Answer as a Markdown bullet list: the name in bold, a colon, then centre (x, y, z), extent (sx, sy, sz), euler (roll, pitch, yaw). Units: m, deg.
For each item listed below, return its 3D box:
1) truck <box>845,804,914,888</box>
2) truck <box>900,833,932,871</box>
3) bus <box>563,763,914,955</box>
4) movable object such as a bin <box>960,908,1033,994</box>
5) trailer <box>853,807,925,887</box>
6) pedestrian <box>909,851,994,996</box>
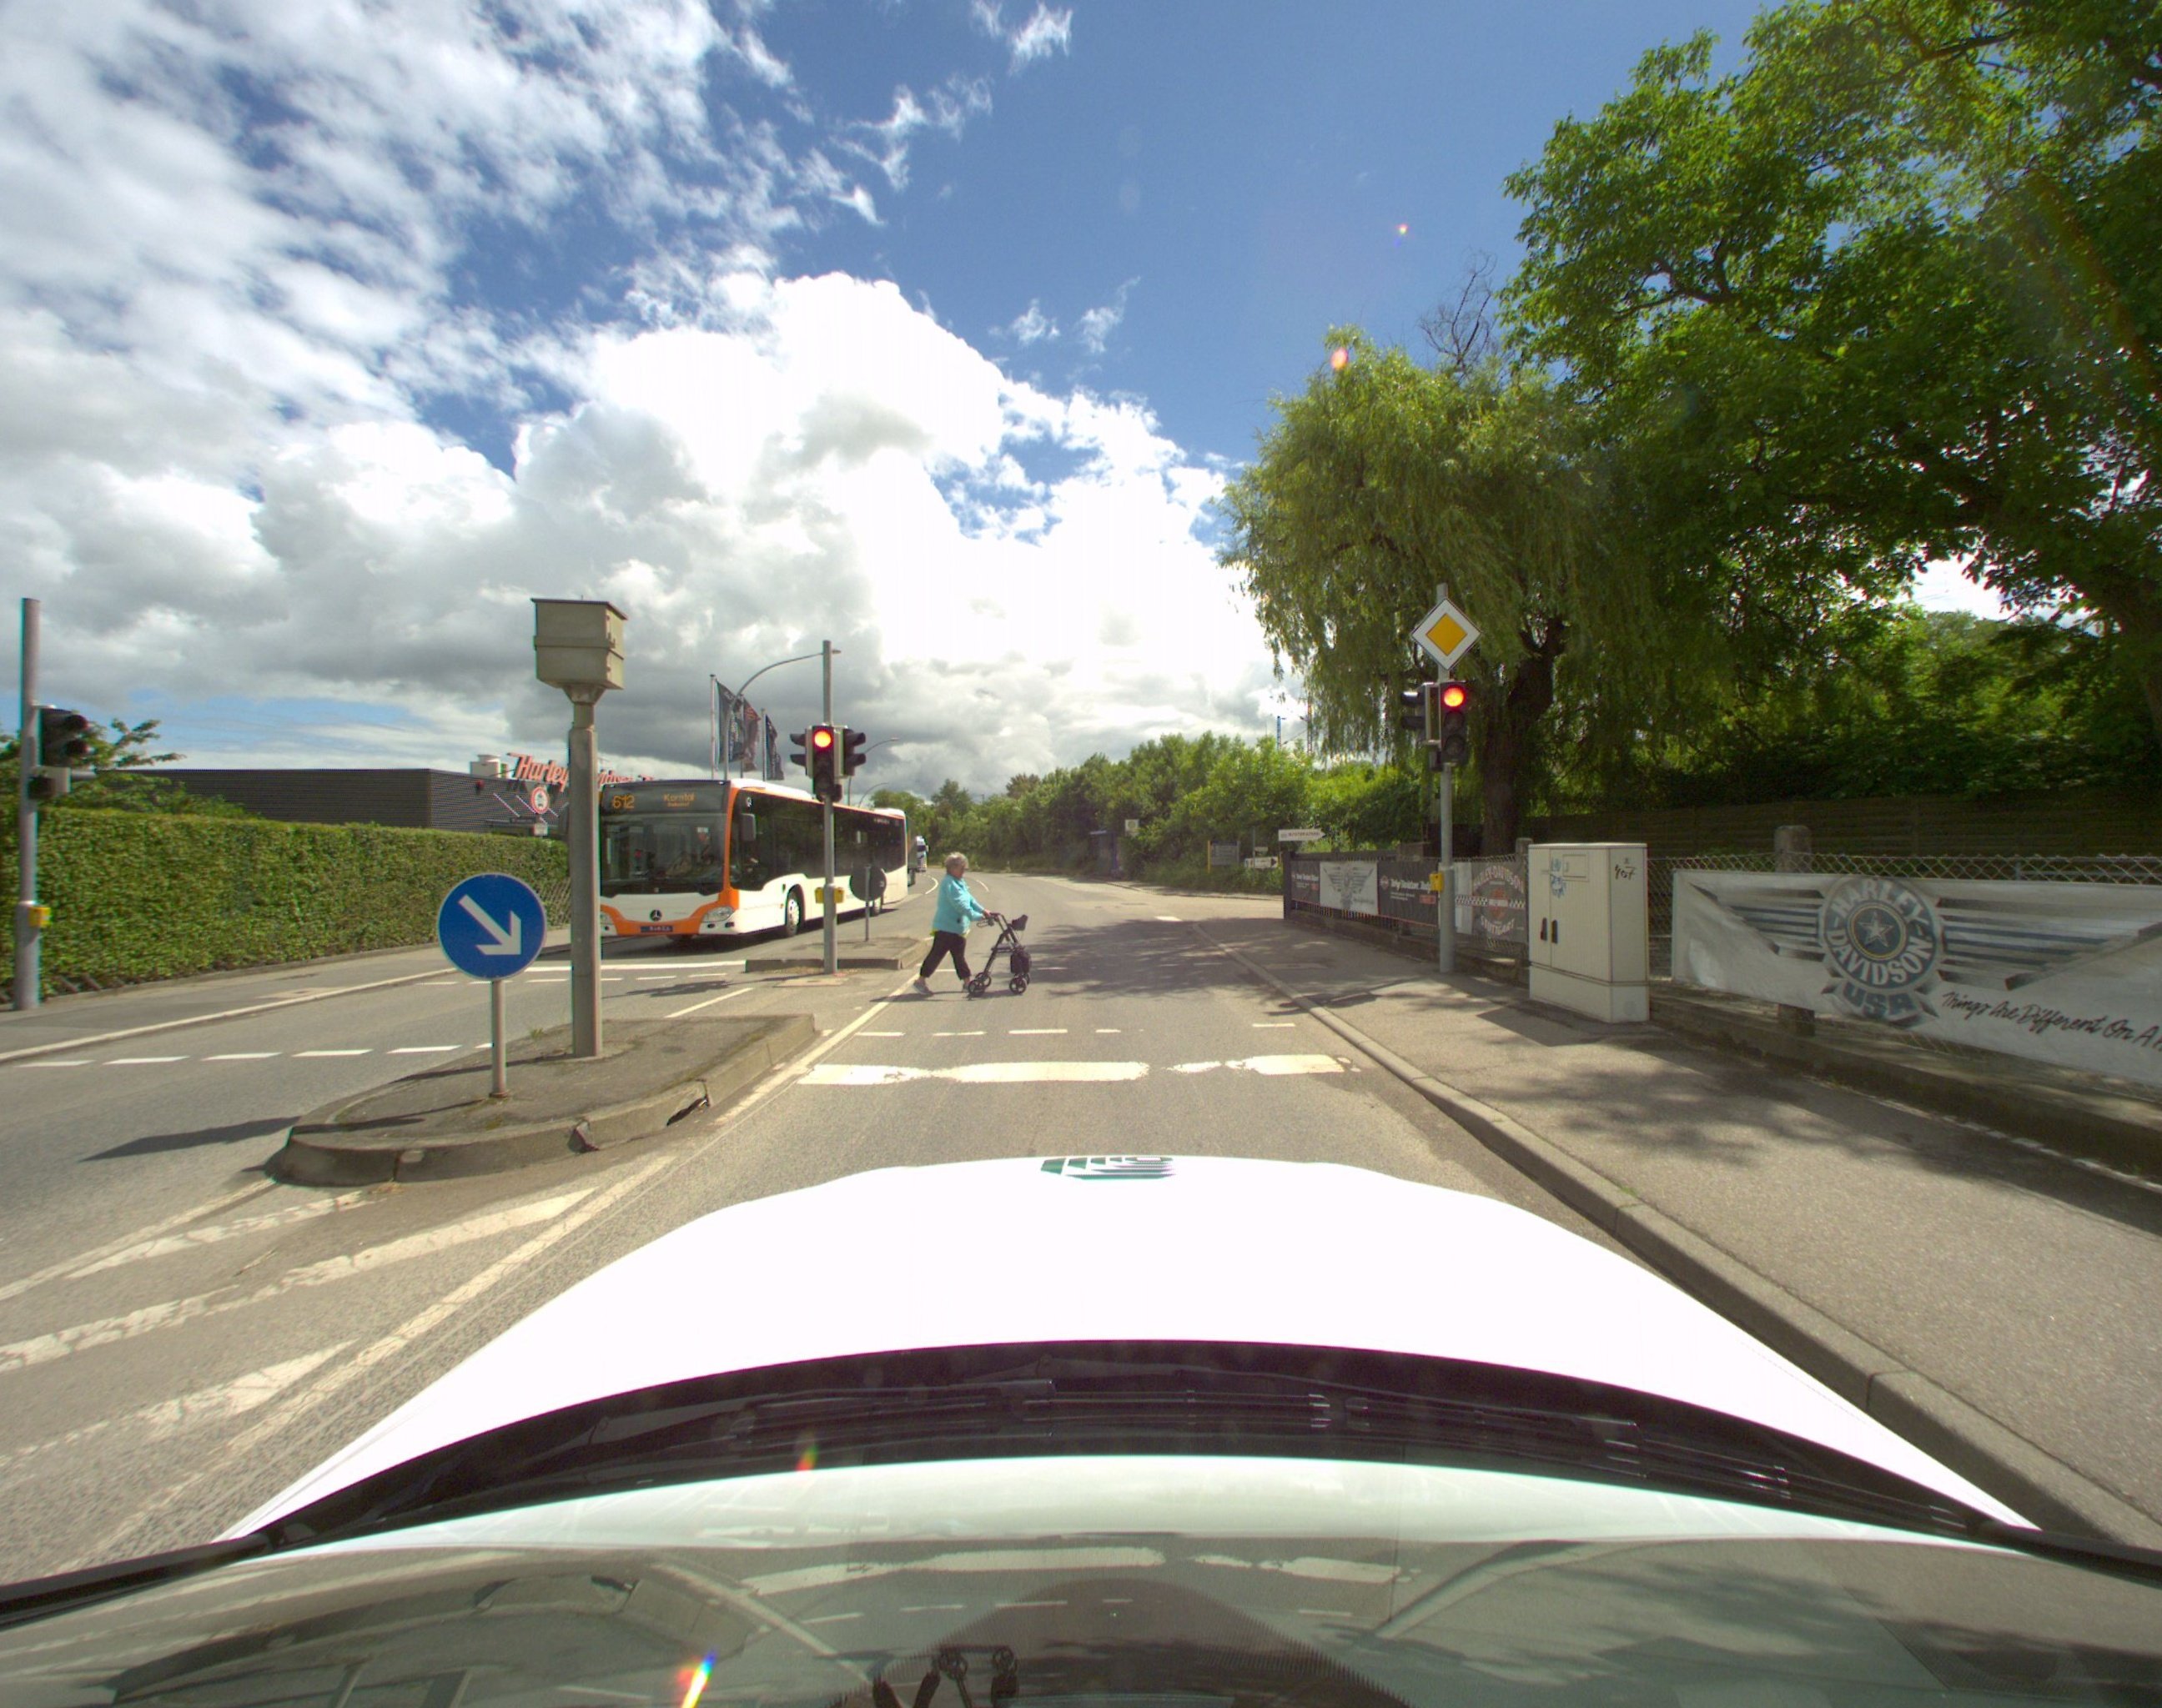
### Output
- **truck**: centre (-10.349, -0.353, 42.468), extent (2.797, 4.053, 6.483), euler (0, -1, -8)
- **truck**: centre (-18.782, -0.185, 92.469), extent (2.781, 4.119, 4.951), euler (0, -1, -21)
- **bus**: centre (-6.815, 0.126, 19.315), extent (2.708, 3.031, 12.270), euler (-2, -1, 2)
- **movable object such as a bin**: centre (-0.928, 1.063, 9.089), extent (0.744, 0.871, 0.670), euler (0, -1, -2)
- **trailer**: centre (-11.314, -0.291, 49.468), extent (2.797, 4.053, 15.512), euler (0, 0, -8)
- **pedestrian**: centre (-1.423, 0.743, 9.072), extent (0.836, 1.543, 0.733), euler (0, -1, -2)
